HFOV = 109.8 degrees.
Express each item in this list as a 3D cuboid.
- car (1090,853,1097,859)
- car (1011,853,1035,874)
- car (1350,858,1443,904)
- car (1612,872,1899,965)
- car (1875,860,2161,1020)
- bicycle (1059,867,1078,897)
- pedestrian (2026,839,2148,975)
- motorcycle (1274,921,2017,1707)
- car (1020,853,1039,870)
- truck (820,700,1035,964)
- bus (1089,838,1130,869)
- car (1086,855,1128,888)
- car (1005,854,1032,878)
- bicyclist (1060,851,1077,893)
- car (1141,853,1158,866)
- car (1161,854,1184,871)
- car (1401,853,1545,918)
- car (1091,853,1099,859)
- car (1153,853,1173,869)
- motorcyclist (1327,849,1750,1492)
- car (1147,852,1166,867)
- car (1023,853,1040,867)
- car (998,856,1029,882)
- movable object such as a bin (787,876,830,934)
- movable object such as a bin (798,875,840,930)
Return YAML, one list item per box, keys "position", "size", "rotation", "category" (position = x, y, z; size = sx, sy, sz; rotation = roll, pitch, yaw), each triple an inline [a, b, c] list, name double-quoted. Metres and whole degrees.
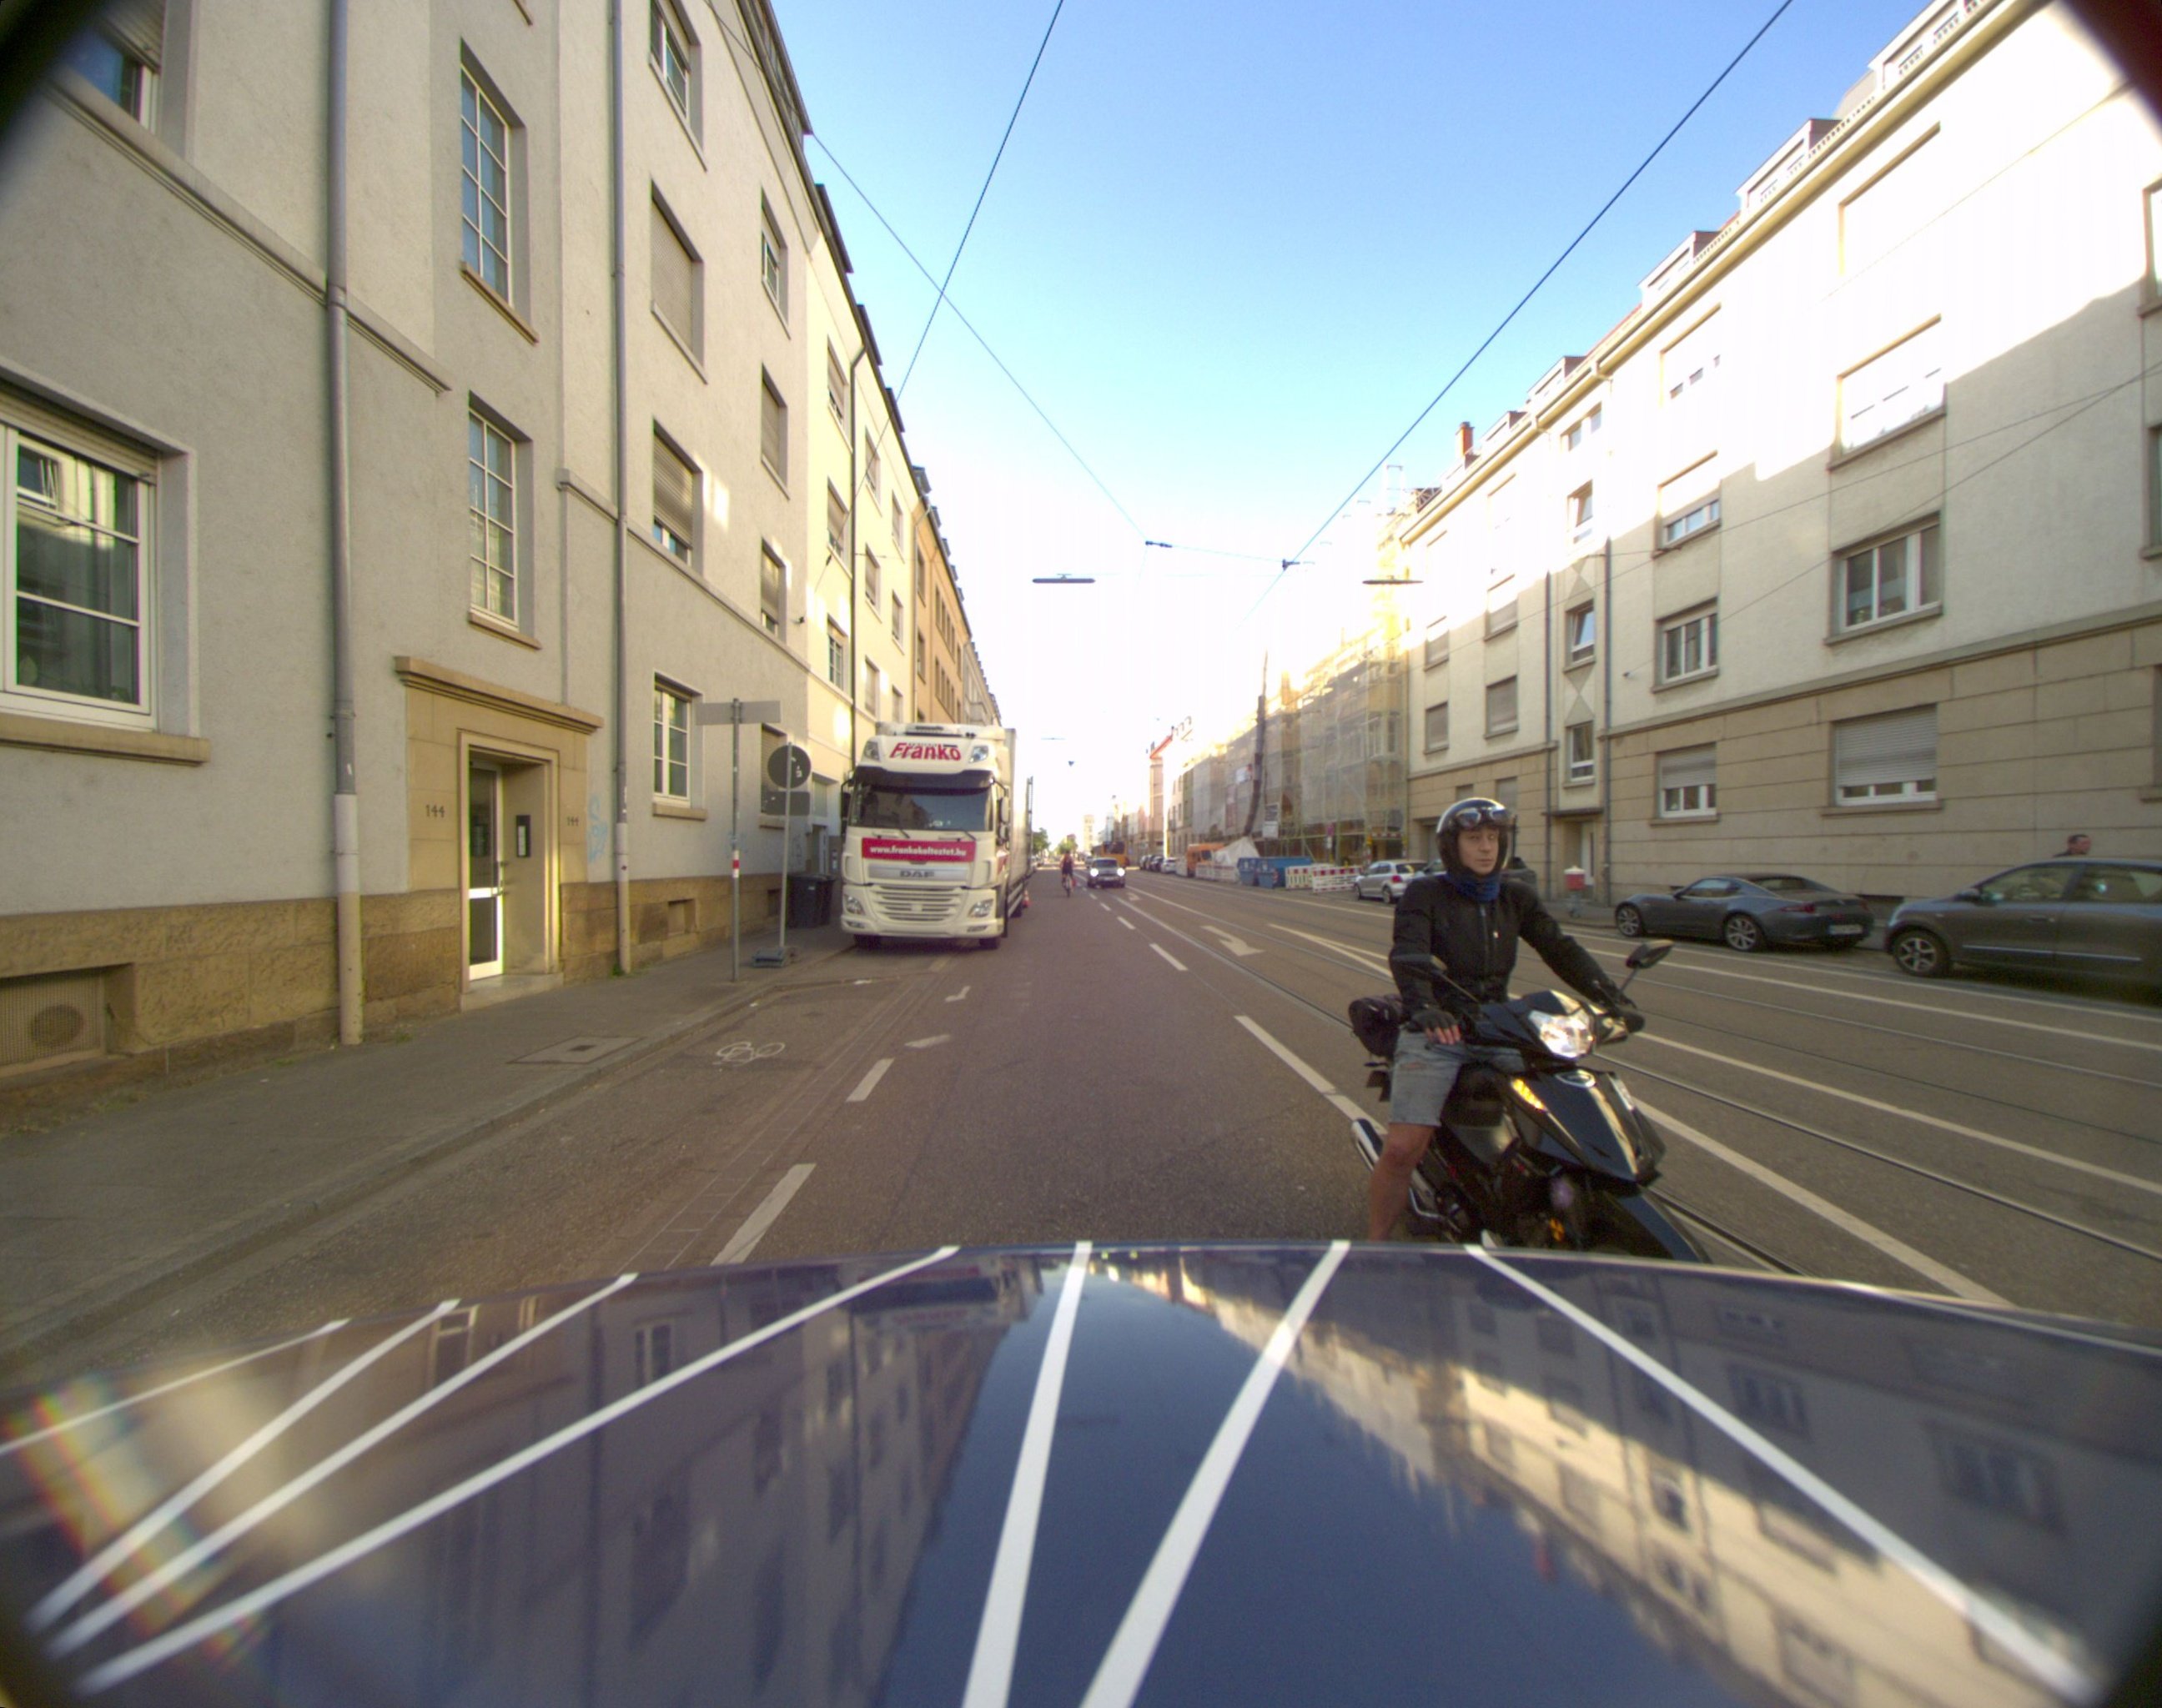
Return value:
- position: [3.301, 0.556, 206.885]
  size: [1.684, 1.478, 3.965]
  rotation: [-2, 0, -1]
  category: "car"
- position: [-4.514, 0.732, 59.153]
  size: [1.685, 1.522, 4.148]
  rotation: [-2, 0, -3]
  category: "car"
- position: [10.608, 0.872, 25.775]
  size: [1.543, 1.404, 3.510]
  rotation: [-1, 0, -3]
  category: "car"
- position: [11.178, 0.992, 12.977]
  size: [1.520, 1.227, 3.685]
  rotation: [-1, 0, -3]
  category: "car"
- position: [11.415, 0.853, 8.315]
  size: [1.679, 1.519, 3.539]
  rotation: [-1, 0, -3]
  category: "car"
- position: [-0.499, 1.087, 29.926]
  size: [0.618, 1.097, 1.885]
  rotation: [0, 0, -5]
  category: "bicycle"
- position: [13.085, 0.667, 9.904]
  size: [0.605, 1.699, 0.730]
  rotation: [0, 1, -2]
  category: "pedestrian"
- position: [1.308, 0.967, 2.515]
  size: [0.791, 1.284, 2.273]
  rotation: [0, 0, 1]
  category: "motorcycle"
- position: [-4.860, 0.733, 72.093]
  size: [1.685, 1.522, 4.148]
  rotation: [-2, 0, -3]
  category: "car"
- position: [-2.628, -0.329, 17.176]
  size: [2.782, 3.903, 11.816]
  rotation: [0, 0, -2]
  category: "truck"
- position: [2.958, -0.089, 84.909]
  size: [2.755, 3.095, 19.156]
  rotation: [0, 0, -3]
  category: "bus"
- position: [1.223, 0.819, 37.502]
  size: [1.685, 1.454, 4.148]
  rotation: [-2, 0, -3]
  category: "car"
- position: [-4.306, 0.816, 52.985]
  size: [1.685, 1.522, 4.148]
  rotation: [-2, 0, -3]
  category: "car"
- position: [-0.503, 0.705, 29.938]
  size: [0.618, 1.620, 0.759]
  rotation: [0, 1, -5]
  category: "bicyclist"
- position: [7.929, 0.636, 87.875]
  size: [1.684, 1.478, 3.966]
  rotation: [-2, 0, 1]
  category: "car"
- position: [8.568, 0.745, 71.108]
  size: [1.684, 1.478, 3.966]
  rotation: [-2, 0, 1]
  category: "car"
- position: [10.809, 0.796, 21.327]
  size: [1.696, 1.590, 4.206]
  rotation: [-1, 0, -3]
  category: "car"
- position: [3.527, 0.578, 191.742]
  size: [1.684, 1.478, 3.965]
  rotation: [-2, 0, -1]
  category: "car"
- position: [8.262, 0.689, 76.806]
  size: [1.684, 1.478, 3.966]
  rotation: [-2, 0, 1]
  category: "car"
- position: [1.307, 0.810, 2.386]
  size: [0.791, 1.645, 0.900]
  rotation: [0, 1, 1]
  category: "motorcyclist"
- position: [8.241, 0.600, 83.179]
  size: [1.684, 1.573, 3.966]
  rotation: [-2, 0, 1]
  category: "car"
- position: [-5.355, 0.632, 82.739]
  size: [1.685, 1.522, 4.148]
  rotation: [-2, 0, -3]
  category: "car"
- position: [-4.179, 0.884, 47.183]
  size: [1.685, 1.522, 4.148]
  rotation: [-2, 0, -3]
  category: "car"
- position: [-5.385, 0.998, 15.035]
  size: [0.666, 1.087, 0.570]
  rotation: [0, 1, -2]
  category: "movable object such as a bin"
- position: [-5.402, 0.990, 15.704]
  size: [0.666, 1.087, 0.570]
  rotation: [0, 1, -2]
  category: "movable object such as a bin"
